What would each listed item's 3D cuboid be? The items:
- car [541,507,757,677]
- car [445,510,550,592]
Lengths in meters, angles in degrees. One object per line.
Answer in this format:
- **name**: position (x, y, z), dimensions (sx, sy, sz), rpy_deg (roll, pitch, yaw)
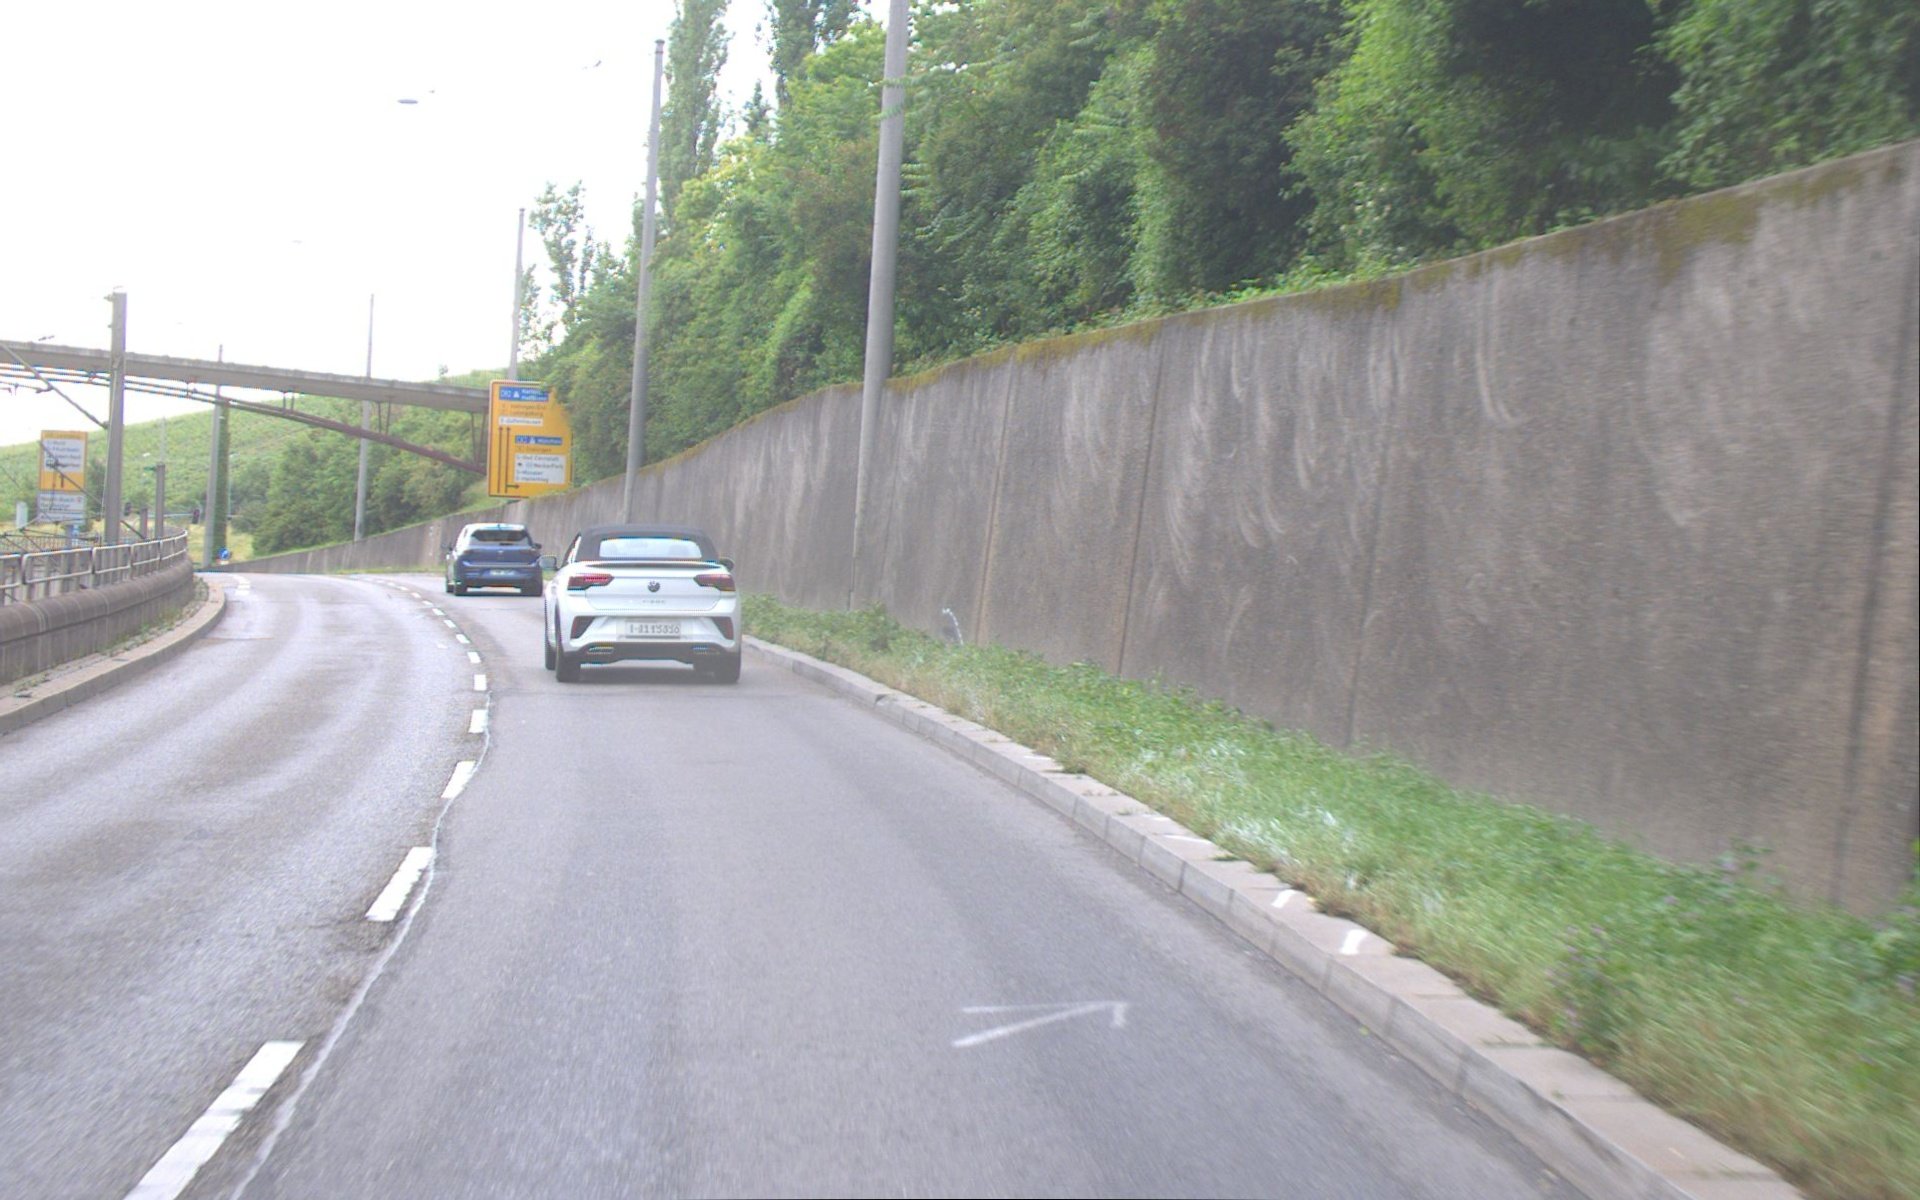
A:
- **car**: position (-3.161, -0.124, 34.306), dimensions (1.995, 1.573, 4.127), rpy_deg (1, 1, -7)
- **car**: position (-9.378, -1.020, 69.934), dimensions (1.926, 1.594, 4.062), rpy_deg (1, 1, -5)
